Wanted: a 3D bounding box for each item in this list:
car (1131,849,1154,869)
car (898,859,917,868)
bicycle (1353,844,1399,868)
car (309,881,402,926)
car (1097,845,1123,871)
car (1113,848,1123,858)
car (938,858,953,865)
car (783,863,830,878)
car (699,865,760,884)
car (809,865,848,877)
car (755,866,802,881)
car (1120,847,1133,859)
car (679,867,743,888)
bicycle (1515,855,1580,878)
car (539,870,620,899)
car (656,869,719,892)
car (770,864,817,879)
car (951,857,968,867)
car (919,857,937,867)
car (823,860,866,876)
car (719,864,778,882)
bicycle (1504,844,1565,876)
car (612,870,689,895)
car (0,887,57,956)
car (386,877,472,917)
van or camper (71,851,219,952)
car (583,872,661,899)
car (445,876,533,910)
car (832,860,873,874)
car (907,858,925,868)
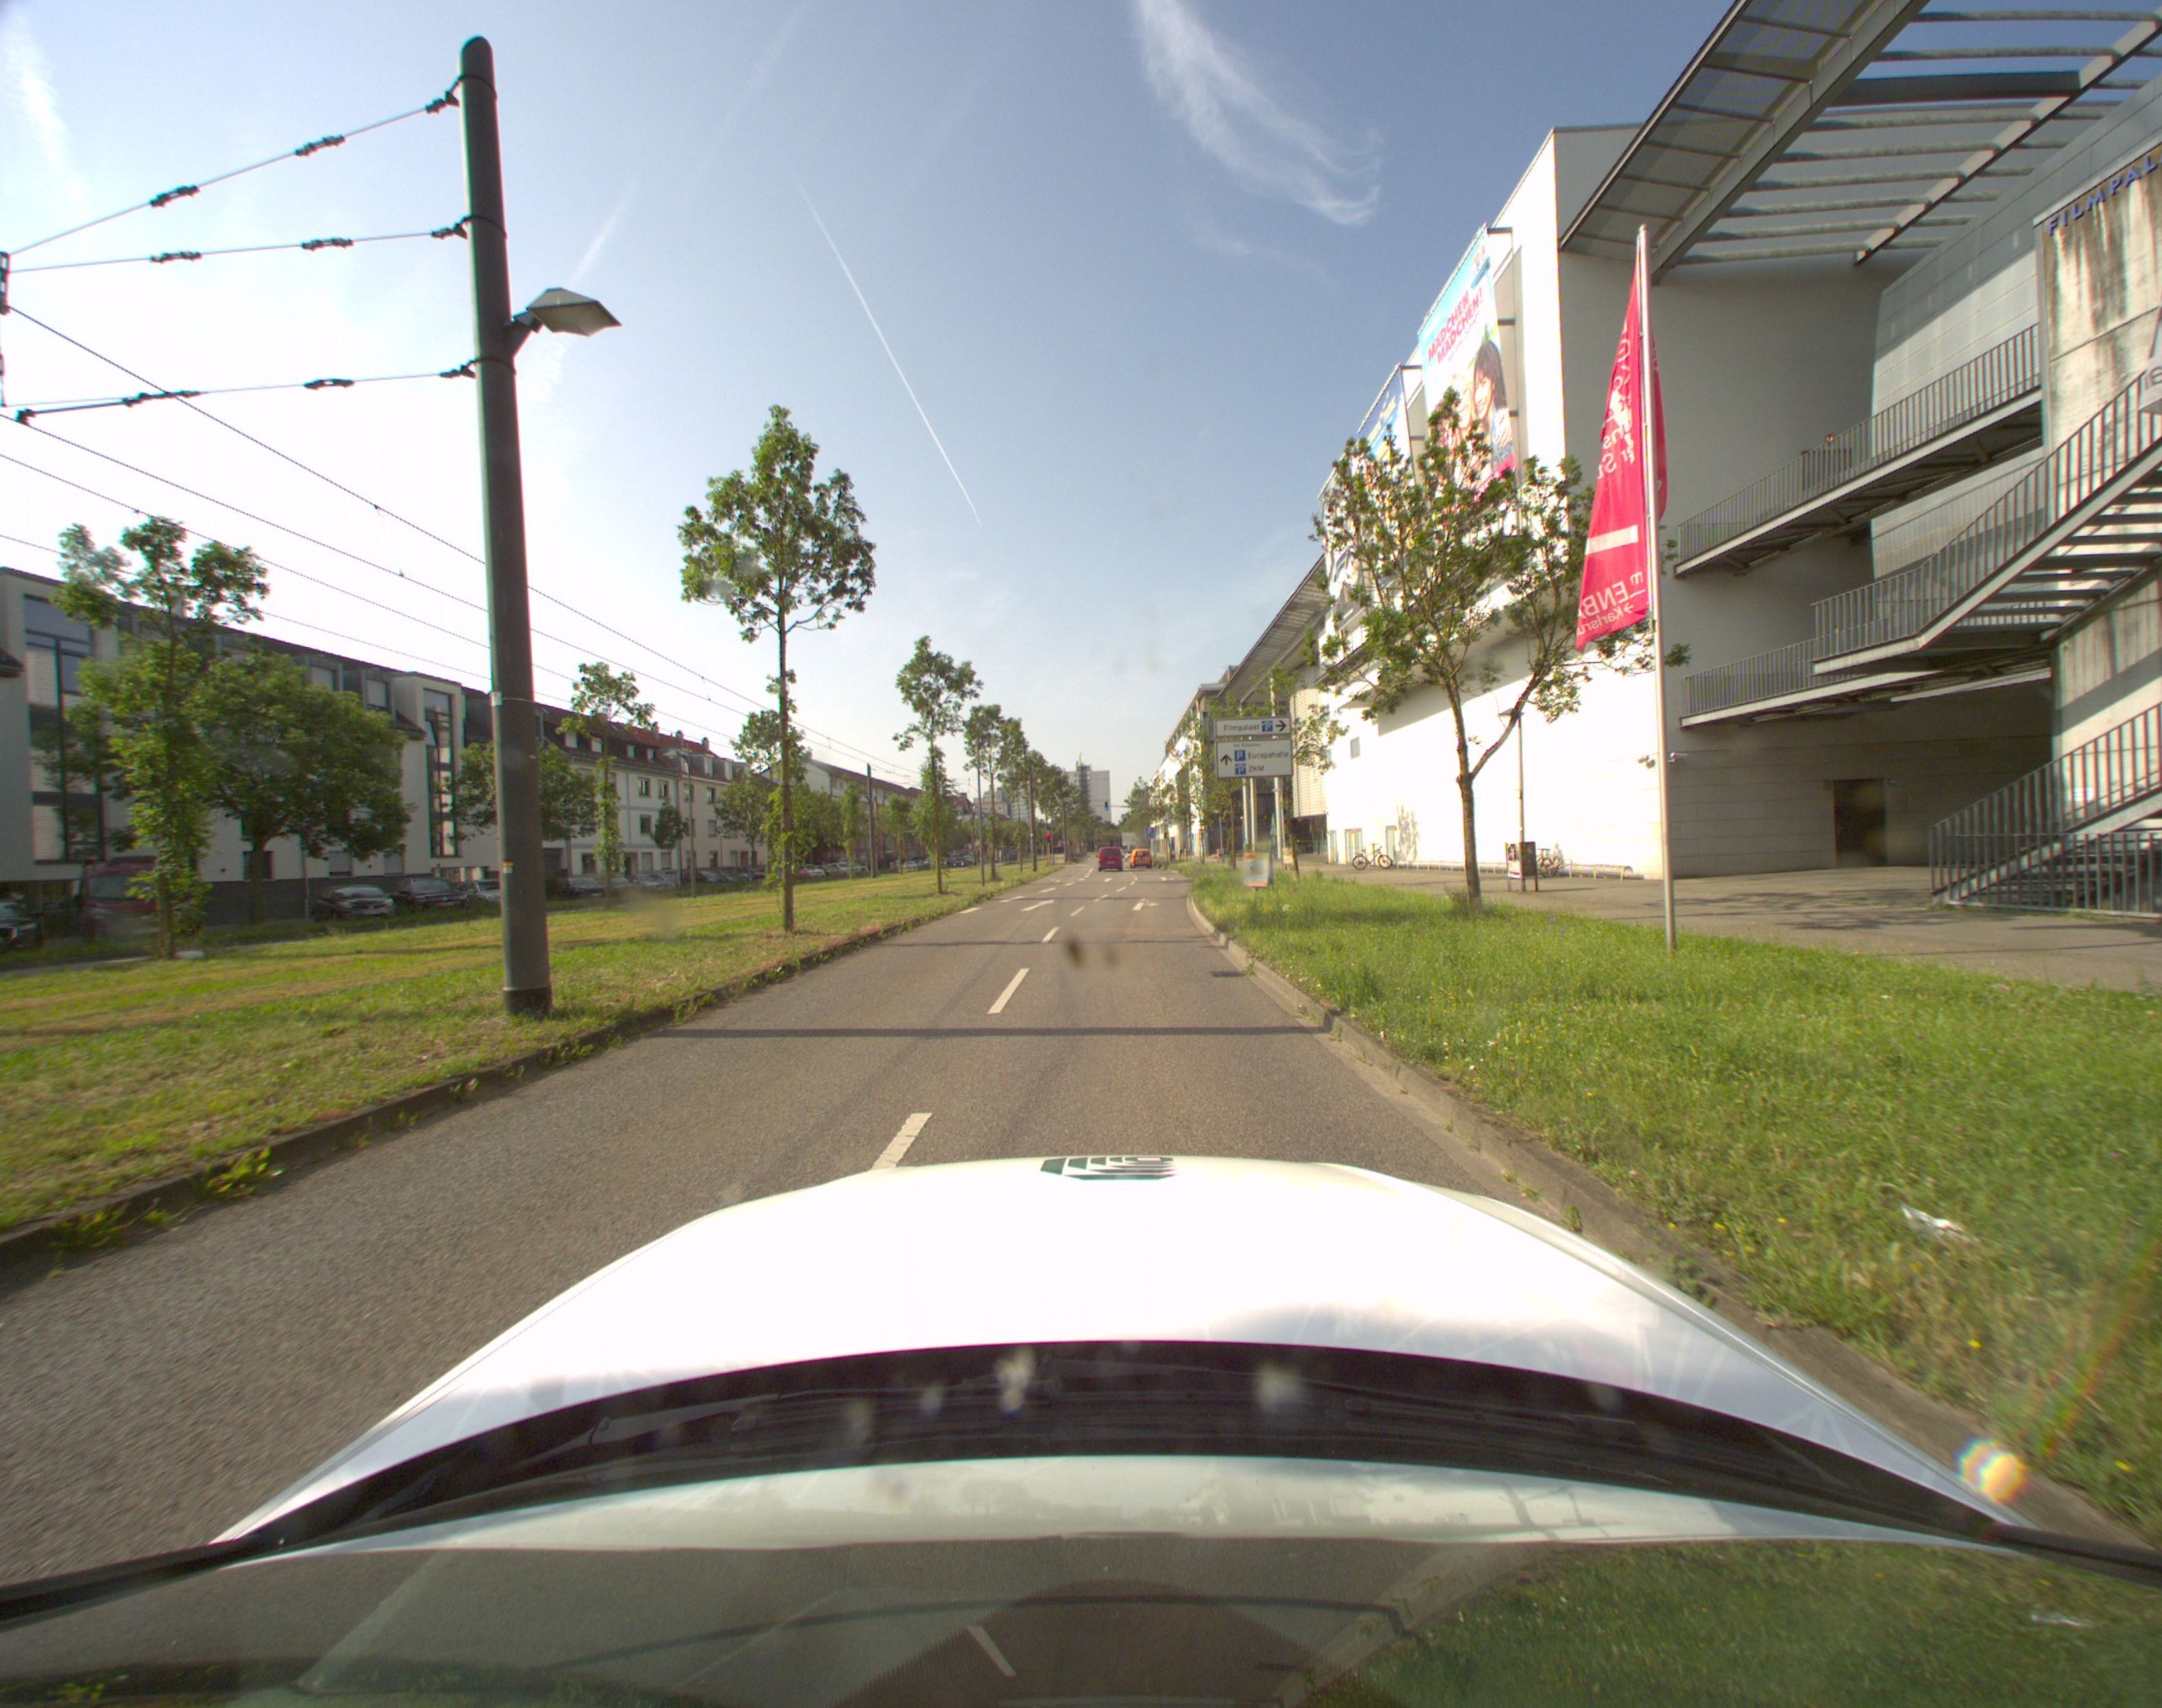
[{"bbox_3d":[5.462,0.399,72.593,1.868,1.696,3.976,-2,0,2],"label":"car"},{"bbox_3d":[-25.590,1.384,120.000,1.827,1.147,4.165,-1,0,1],"label":"car"},{"bbox_3d":[14.614,0.095,40.312,1.998,1.102,0.676,-3,0,5],"label":"bicycle"},{"bbox_3d":[-26.690,1.771,29.932,3.948,1.420,1.793,-1,0,37],"label":"car"},{"bbox_3d":[2.244,0.287,63.653,1.868,1.853,4.000,-2,0,0],"label":"car"},{"bbox_3d":[6.623,-0.208,146.260,1.682,1.526,3.852,-4,0,2],"label":"car"},{"bbox_3d":[-25.164,1.361,151.333,1.974,1.360,4.070,-1,0,1],"label":"car"},{"bbox_3d":[-25.245,1.497,74.865,3.948,1.269,1.898,-1,0,31],"label":"car"},{"bbox_3d":[-25.554,1.465,59.212,3.950,1.288,2.012,-1,0,27],"label":"car"},{"bbox_3d":[-25.400,1.679,81.905,3.949,1.178,2.012,-1,0,42],"label":"car"},{"bbox_3d":[-25.413,1.616,68.391,3.948,1.235,1.710,-1,0,35],"label":"car"},{"bbox_3d":[6.643,-0.165,119.798,1.714,1.519,3.782,-3,1,1],"label":"car"},{"bbox_3d":[-25.760,1.635,56.677,3.950,1.288,2.012,-2,0,27],"label":"car"},{"bbox_3d":[14.382,0.382,25.119,1.651,0.645,0.538,-3,0,1],"label":"bicycle"},{"bbox_3d":[-26.572,1.602,43.132,3.949,1.376,1.847,-2,0,28],"label":"car"},{"bbox_3d":[-24.959,1.676,51.695,3.733,1.376,1.674,-1,0,27],"label":"car"},{"bbox_3d":[-25.441,1.560,71.977,3.948,1.258,1.888,-1,0,34],"label":"car"},{"bbox_3d":[-21.281,1.367,143.096,1.986,1.706,4.716,-2,0,2],"label":"car"},{"bbox_3d":[-25.469,1.374,135.814,1.974,1.556,4.538,-1,0,1],"label":"car"},{"bbox_3d":[-24.581,1.440,84.543,4.407,1.514,2.013,-1,0,38],"label":"car"},{"bbox_3d":[-25.198,1.430,61.717,4.008,1.288,2.012,-1,0,29],"label":"car"},{"bbox_3d":[14.375,0.189,25.830,1.651,0.915,0.483,-3,0,1],"label":"bicycle"},{"bbox_3d":[-26.107,1.693,49.334,4.285,1.376,2.012,-1,0,27],"label":"car"},{"bbox_3d":[-27.498,1.657,20.578,4.100,1.616,1.880,-1,-3,40],"label":"car"},{"bbox_3d":[-26.234,1.678,32.752,3.673,1.434,1.652,-1,0,34],"label":"car"},{"bbox_3d":[-27.243,1.289,23.637,6.082,2.546,2.430,-2,0,38],"label":"van or camper"},{"bbox_3d":[-25.550,1.726,45.323,3.949,1.376,1.939,-1,0,28],"label":"car"},{"bbox_3d":[-26.163,1.675,35.928,4.342,1.320,1.745,-1,0,34],"label":"car"},{"bbox_3d":[-24.743,1.380,88.184,4.297,1.463,1.976,-1,0,34],"label":"car"},{"bbox_3d":[-25.458,1.379,125.856,1.827,1.471,3.827,-1,0,1],"label":"car"}]
